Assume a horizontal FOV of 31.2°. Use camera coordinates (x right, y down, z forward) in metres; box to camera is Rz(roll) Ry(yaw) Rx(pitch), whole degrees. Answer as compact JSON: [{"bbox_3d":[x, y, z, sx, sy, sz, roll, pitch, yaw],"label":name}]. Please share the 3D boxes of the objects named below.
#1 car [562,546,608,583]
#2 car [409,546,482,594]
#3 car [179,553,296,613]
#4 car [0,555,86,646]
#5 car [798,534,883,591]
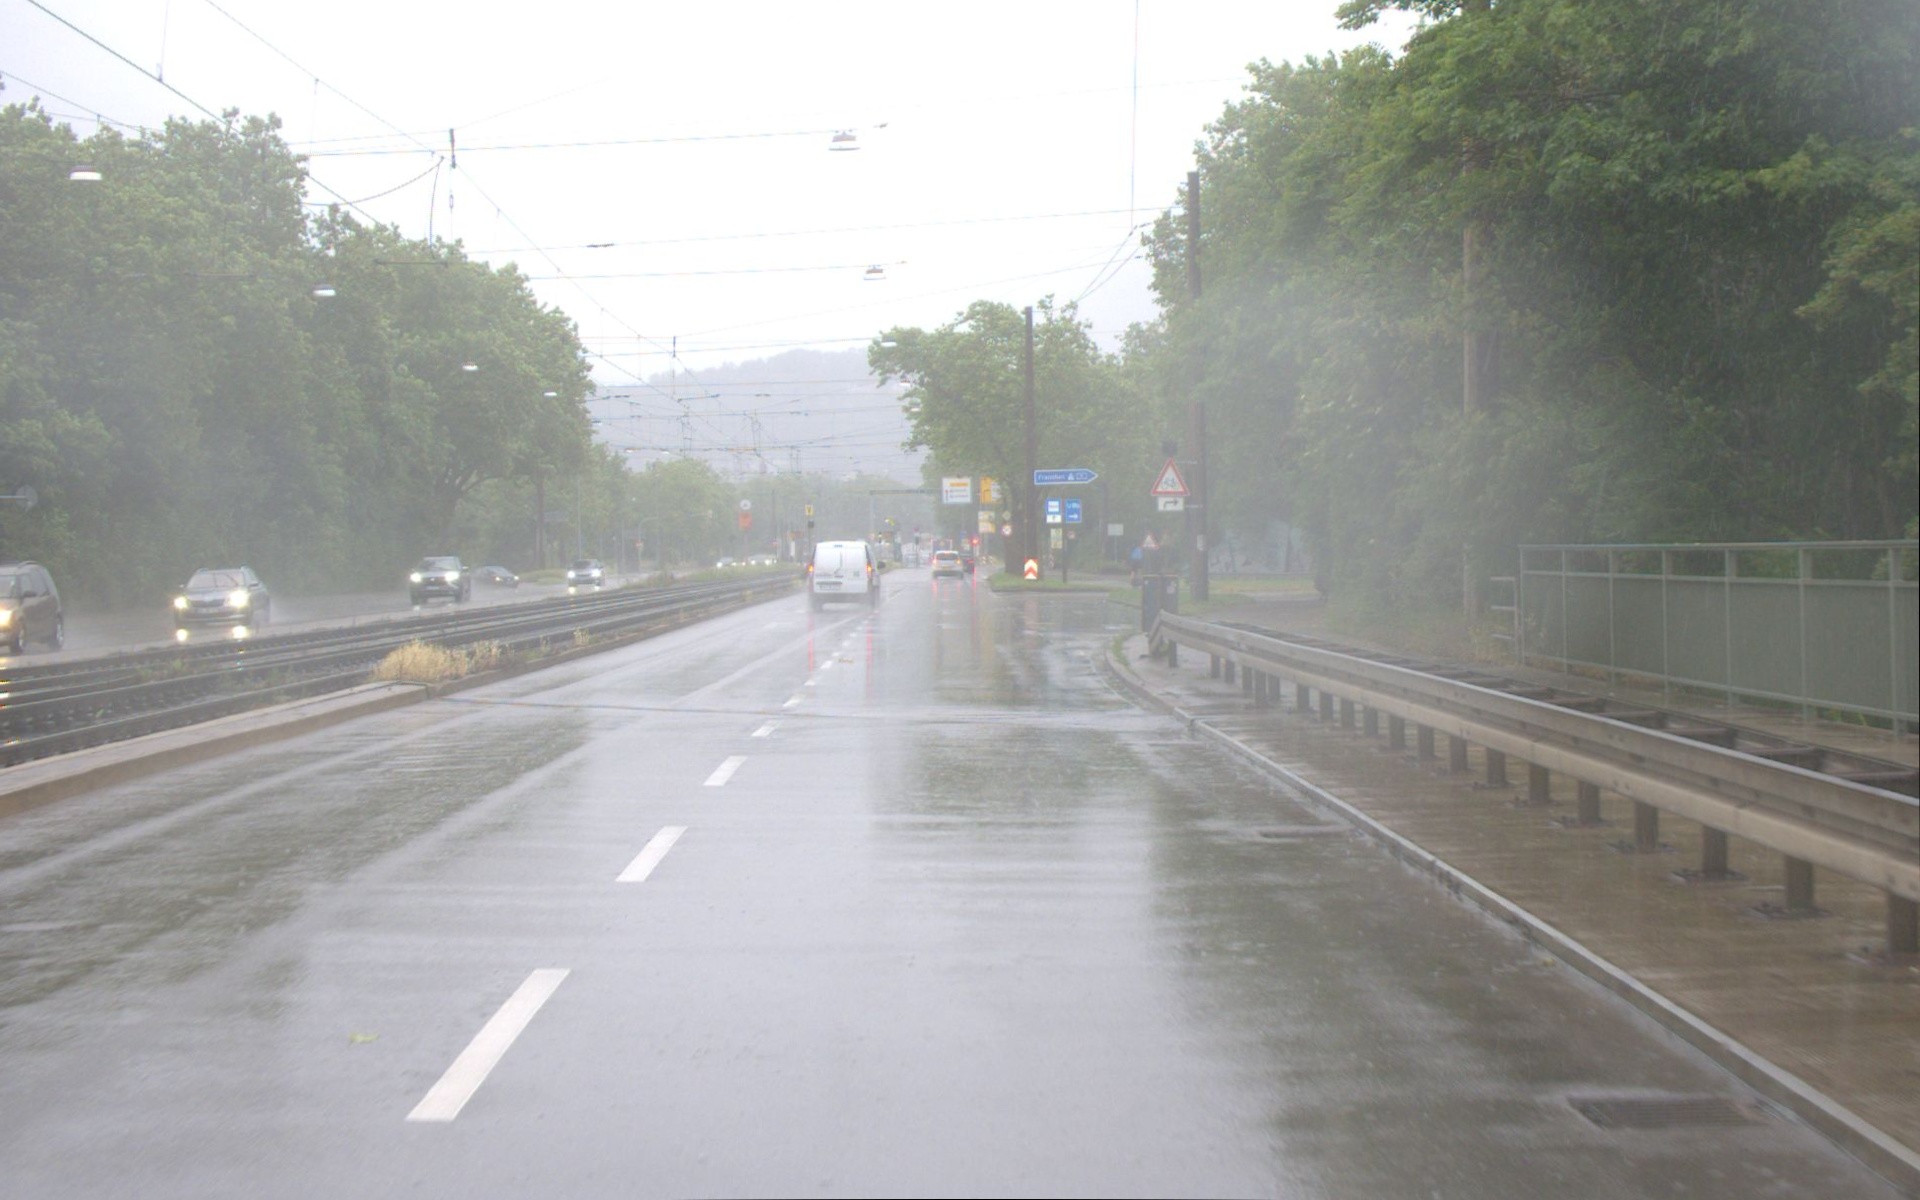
[{"bbox_3d":[-20.194,-1.919,185.337,1.993,1.776,4.000,4,1,-1],"label":"car"},{"bbox_3d":[-18.527,-1.099,123.949,1.993,1.667,4.873,0,1,-1],"label":"car"},{"bbox_3d":[-17.910,-0.443,85.473,1.993,1.384,4.854,0,1,-1],"label":"car"},{"bbox_3d":[-17.190,-0.018,61.833,1.841,1.568,4.385,0,1,0],"label":"car"},{"bbox_3d":[-3.127,-1.001,90.738,2.077,1.415,4.000,-1,1,0],"label":"car"}]
